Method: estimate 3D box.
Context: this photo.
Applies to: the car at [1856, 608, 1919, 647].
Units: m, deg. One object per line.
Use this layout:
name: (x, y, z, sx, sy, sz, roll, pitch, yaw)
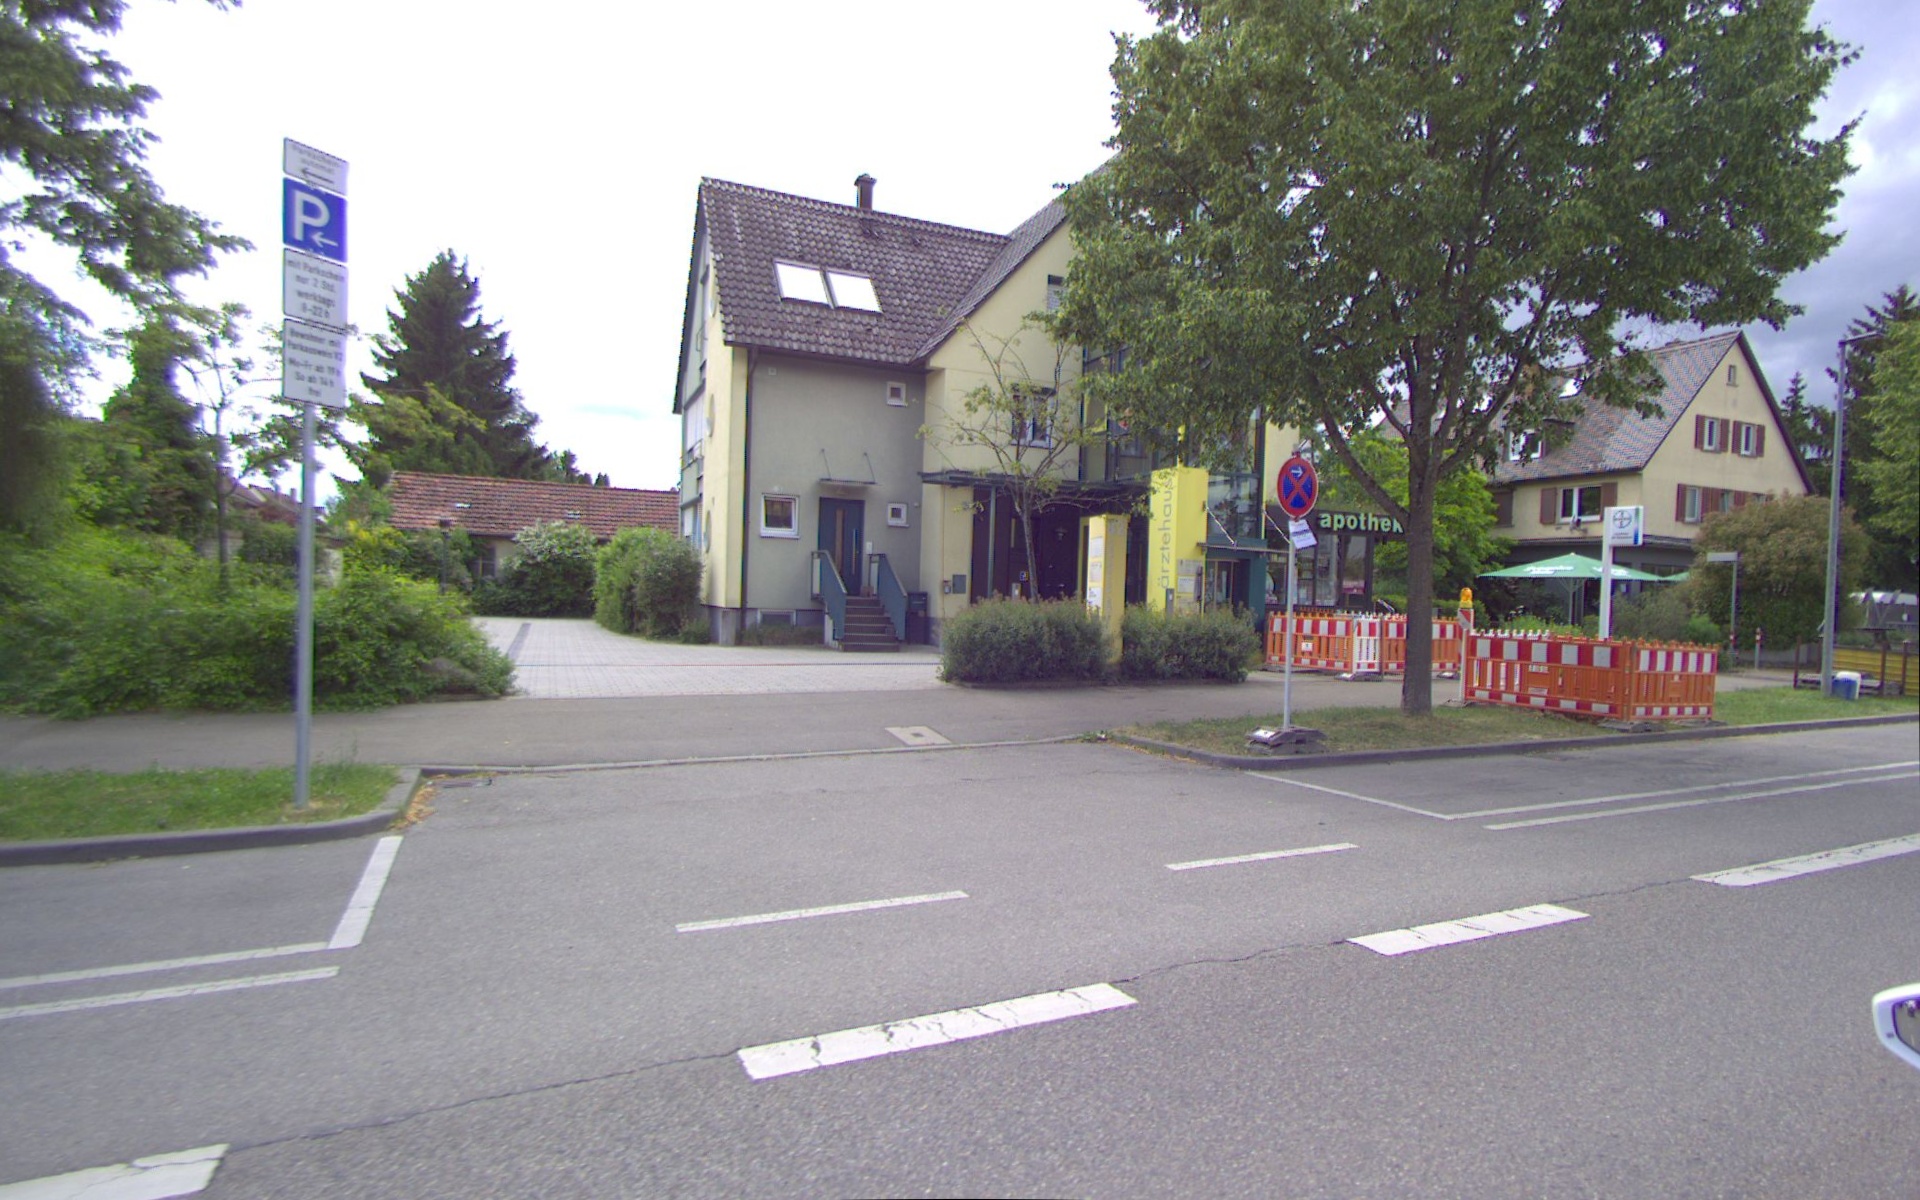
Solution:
car: (45.483, 1.304, 47.710, 1.721, 1.793, 3.978, 2, 0, -23)
